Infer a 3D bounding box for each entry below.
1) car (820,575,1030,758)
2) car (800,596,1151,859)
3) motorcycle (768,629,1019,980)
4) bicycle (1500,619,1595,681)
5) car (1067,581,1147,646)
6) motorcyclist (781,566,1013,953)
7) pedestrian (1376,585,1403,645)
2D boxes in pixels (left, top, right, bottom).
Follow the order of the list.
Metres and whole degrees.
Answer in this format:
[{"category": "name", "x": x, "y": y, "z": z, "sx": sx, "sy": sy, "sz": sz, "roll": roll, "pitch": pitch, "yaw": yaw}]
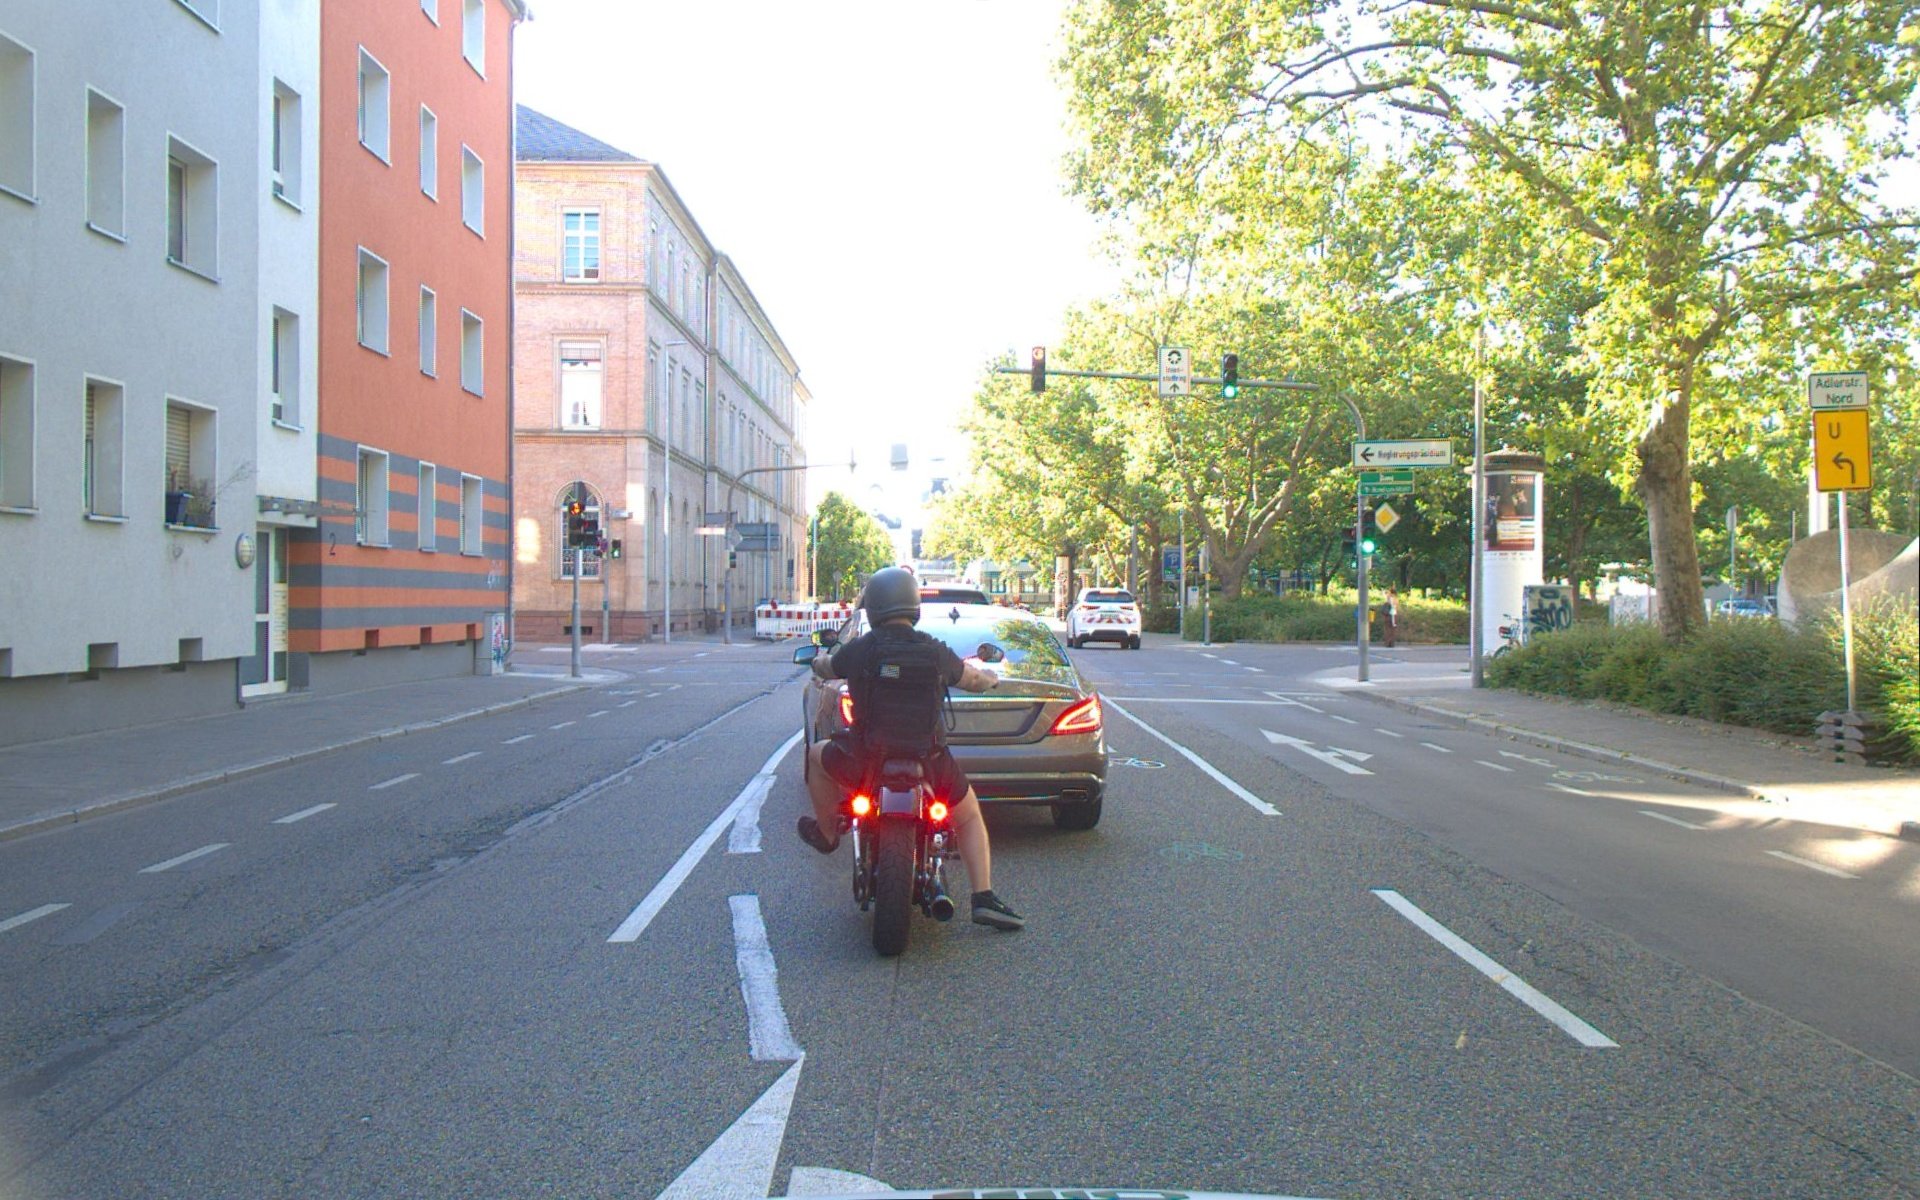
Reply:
[{"category": "car", "x": -0.357, "y": 0.633, "z": 17.545, "sx": 1.953, "sy": 1.695, "sz": 3.999, "roll": 1, "pitch": 0, "yaw": -1}, {"category": "car", "x": -0.108, "y": 0.710, "z": 11.626, "sx": 1.834, "sy": 1.469, "sz": 4.422, "roll": 0, "pitch": 0, "yaw": -8}, {"category": "motorcycle", "x": -0.271, "y": 0.807, "z": 7.563, "sx": 0.961, "sy": 1.297, "sz": 2.407, "roll": 0, "pitch": 0, "yaw": -1}, {"category": "bicycle", "x": 9.793, "y": 0.833, "z": 27.602, "sx": 1.452, "sy": 0.997, "sz": 0.299, "roll": 1, "pitch": -1, "yaw": 5}, {"category": "car", "x": 4.153, "y": 0.353, "z": 47.332, "sx": 1.903, "sy": 1.738, "sz": 4.484, "roll": 1, "pitch": 0, "yaw": 1}, {"category": "motorcyclist", "x": -0.269, "y": 0.659, "z": 7.486, "sx": 0.961, "sy": 1.606, "sz": 1.248, "roll": 0, "pitch": 0, "yaw": -1}, {"category": "pedestrian", "x": 13.194, "y": 0.453, "z": 50.782, "sx": 0.664, "sy": 1.803, "sz": 0.616, "roll": 1, "pitch": -1, "yaw": 29}]
